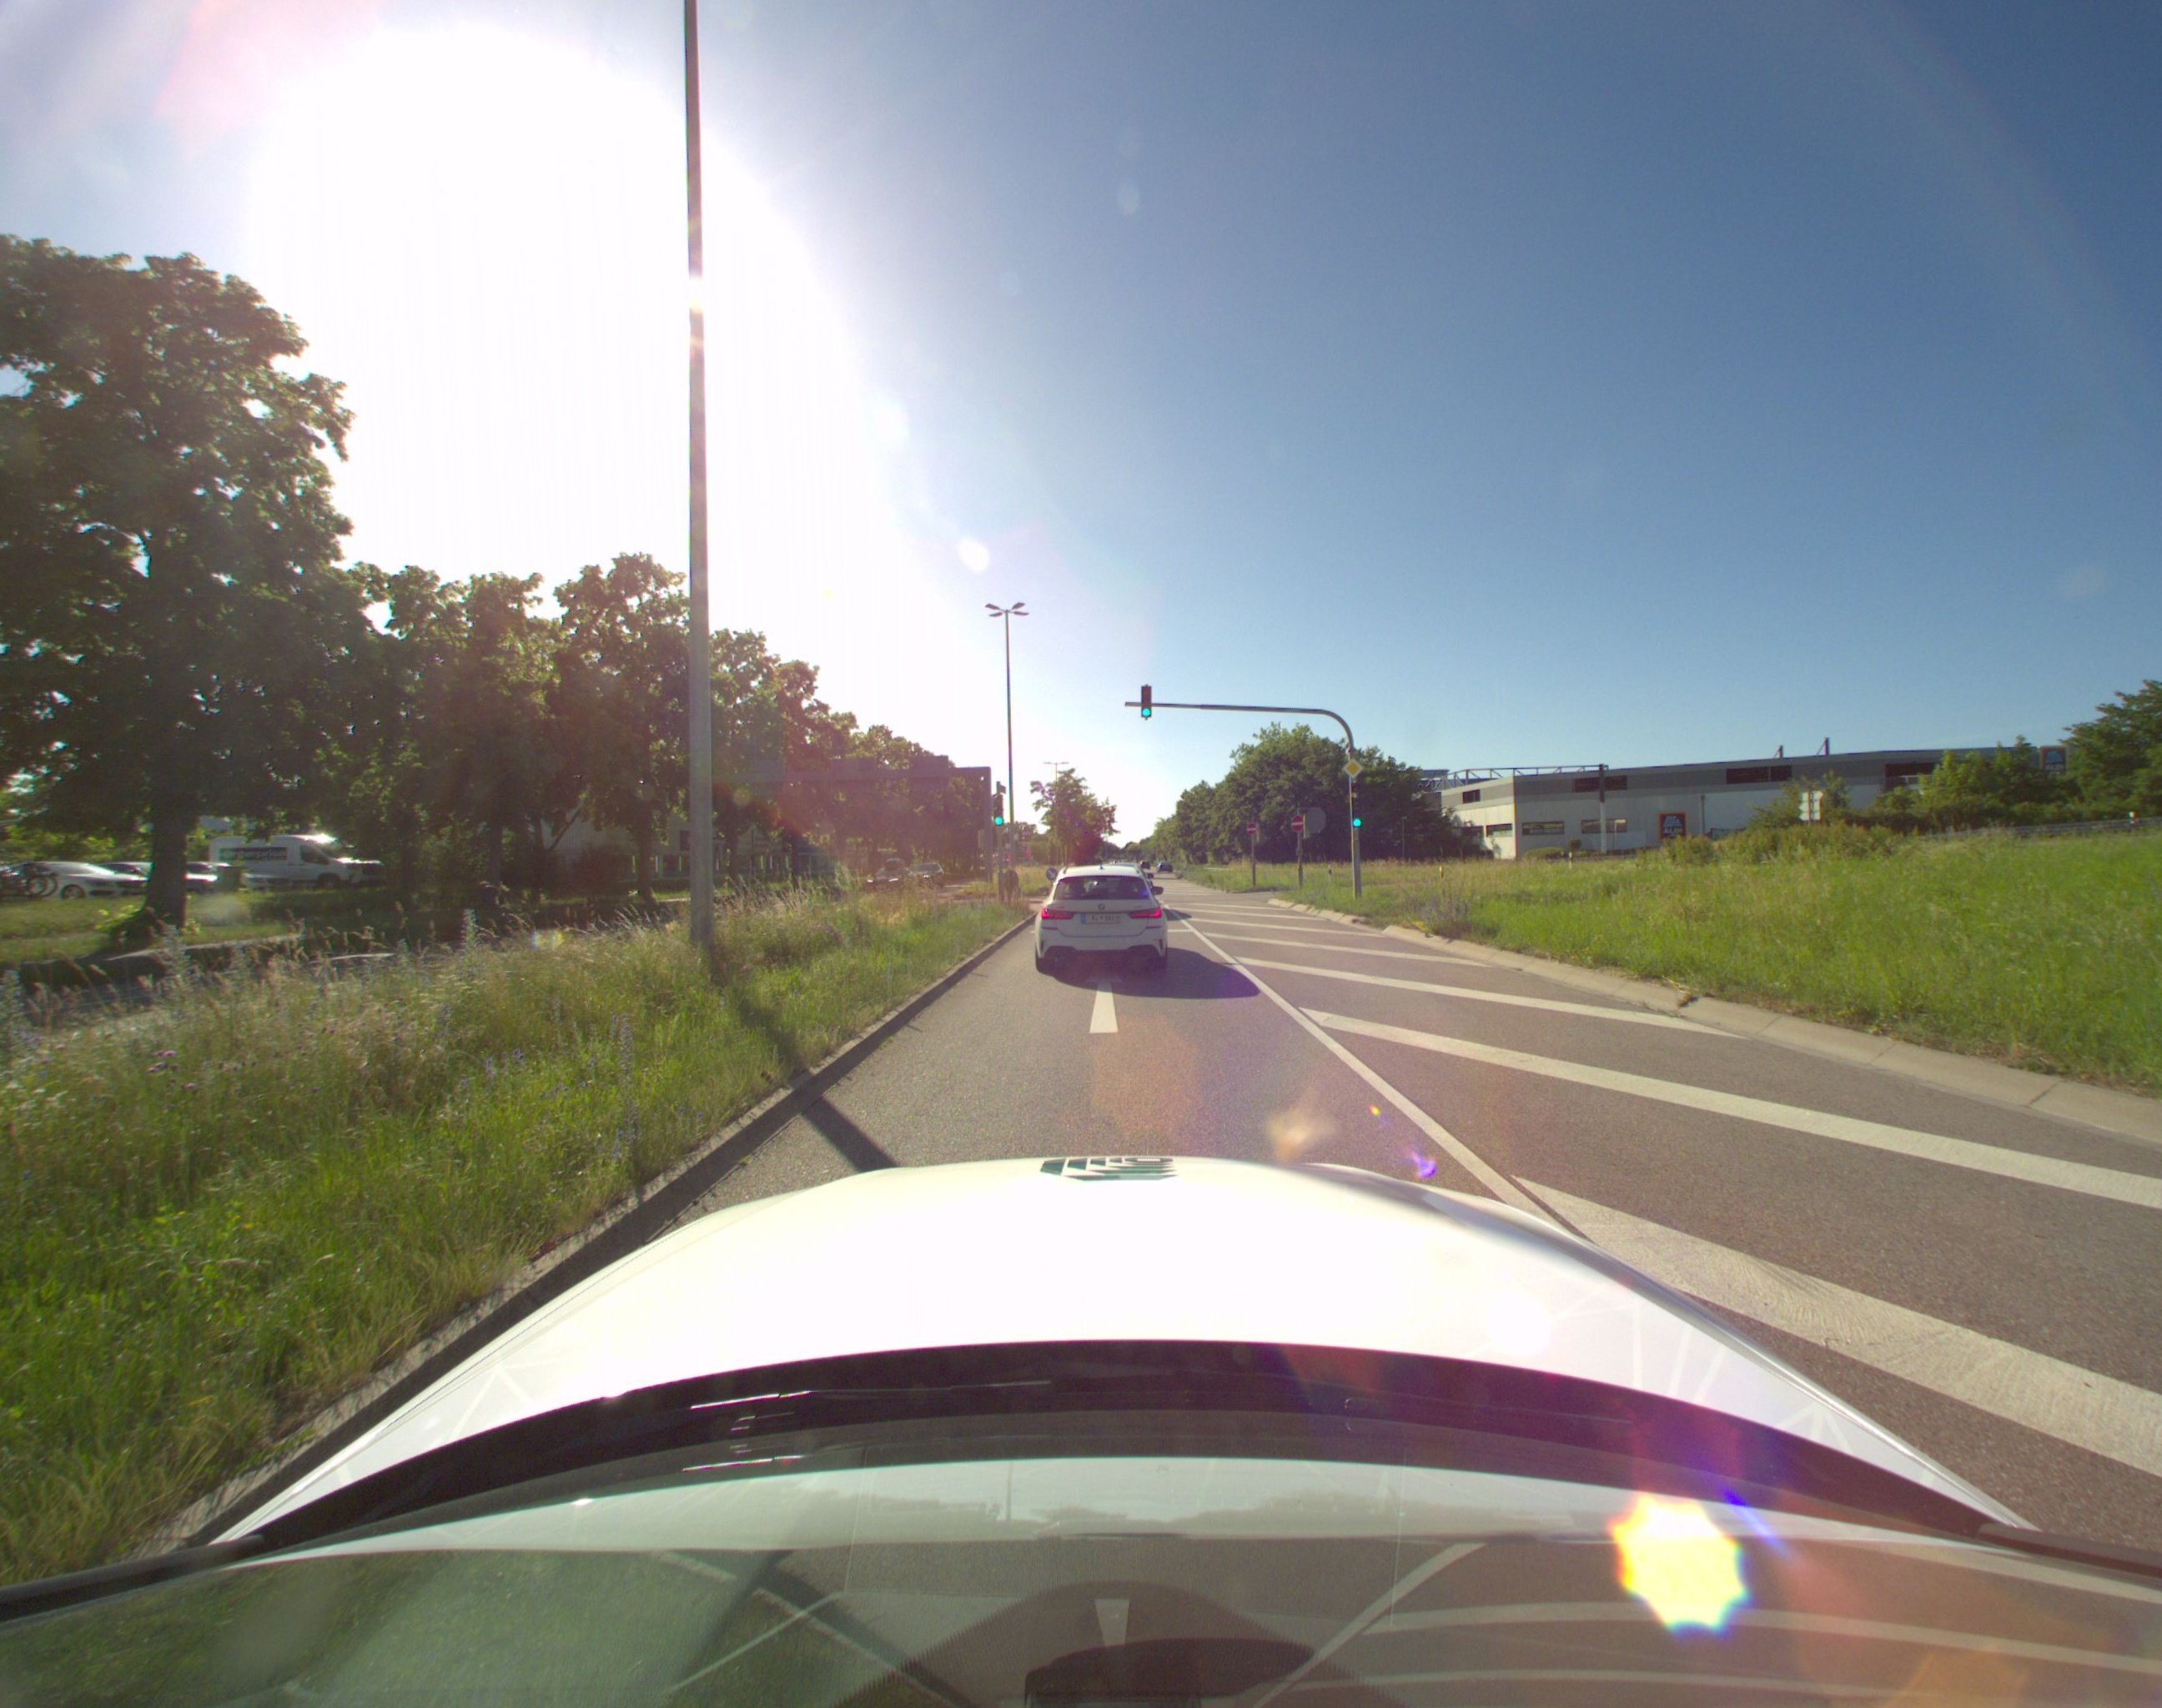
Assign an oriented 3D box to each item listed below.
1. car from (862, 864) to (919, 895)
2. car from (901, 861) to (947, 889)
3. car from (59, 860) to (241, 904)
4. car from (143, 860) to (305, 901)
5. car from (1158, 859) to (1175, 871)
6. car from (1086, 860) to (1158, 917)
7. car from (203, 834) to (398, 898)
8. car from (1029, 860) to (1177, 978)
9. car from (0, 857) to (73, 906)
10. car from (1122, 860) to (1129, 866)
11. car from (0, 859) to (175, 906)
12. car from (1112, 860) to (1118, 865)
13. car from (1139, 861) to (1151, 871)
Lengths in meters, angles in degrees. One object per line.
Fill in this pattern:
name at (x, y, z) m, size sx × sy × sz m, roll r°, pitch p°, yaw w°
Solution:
car at (-10.638, 1.370, 45.740) m, size 1.869 × 1.543 × 4.575 m, roll -3°, pitch -1°, yaw 2°
car at (-10.517, 1.364, 54.762) m, size 1.935 × 1.697 × 4.632 m, roll -3°, pitch 0°, yaw 2°
car at (-32.982, 0.953, 28.958) m, size 4.107 × 1.388 × 1.945 m, roll -2°, pitch 0°, yaw -2°
car at (-33.114, 1.000, 31.574) m, size 4.107 × 1.388 × 1.945 m, roll -2°, pitch 0°, yaw -2°
car at (10.931, 1.419, 104.662) m, size 1.854 × 1.499 × 4.338 m, roll -1°, pitch -1°, yaw 2°
car at (1.166, 0.930, 23.806) m, size 1.854 × 1.455 × 4.549 m, roll -2°, pitch -1°, yaw 2°
car at (-32.594, 0.503, 34.166) m, size 5.861 × 2.433 × 2.205 m, roll -2°, pitch -1°, yaw -2°
car at (0.387, 0.841, 12.609) m, size 1.854 × 1.455 × 4.550 m, roll -1°, pitch 0°, yaw 3°
car at (-32.704, 0.844, 23.609) m, size 4.601 × 1.388 × 1.948 m, roll -2°, pitch 0°, yaw 2°
car at (11.622, 2.398, 212.666) m, size 1.854 × 1.565 × 4.549 m, roll -2°, pitch 0°, yaw 2°
car at (-32.580, 0.906, 26.393) m, size 4.107 × 1.388 × 1.945 m, roll -2°, pitch 0°, yaw -2°
car at (10.866, 2.684, 259.940) m, size 1.854 × 1.565 × 4.549 m, roll -2°, pitch 0°, yaw 2°
car at (10.740, 2.002, 136.877) m, size 1.765 × 1.555 × 3.833 m, roll -2°, pitch 0°, yaw 1°
